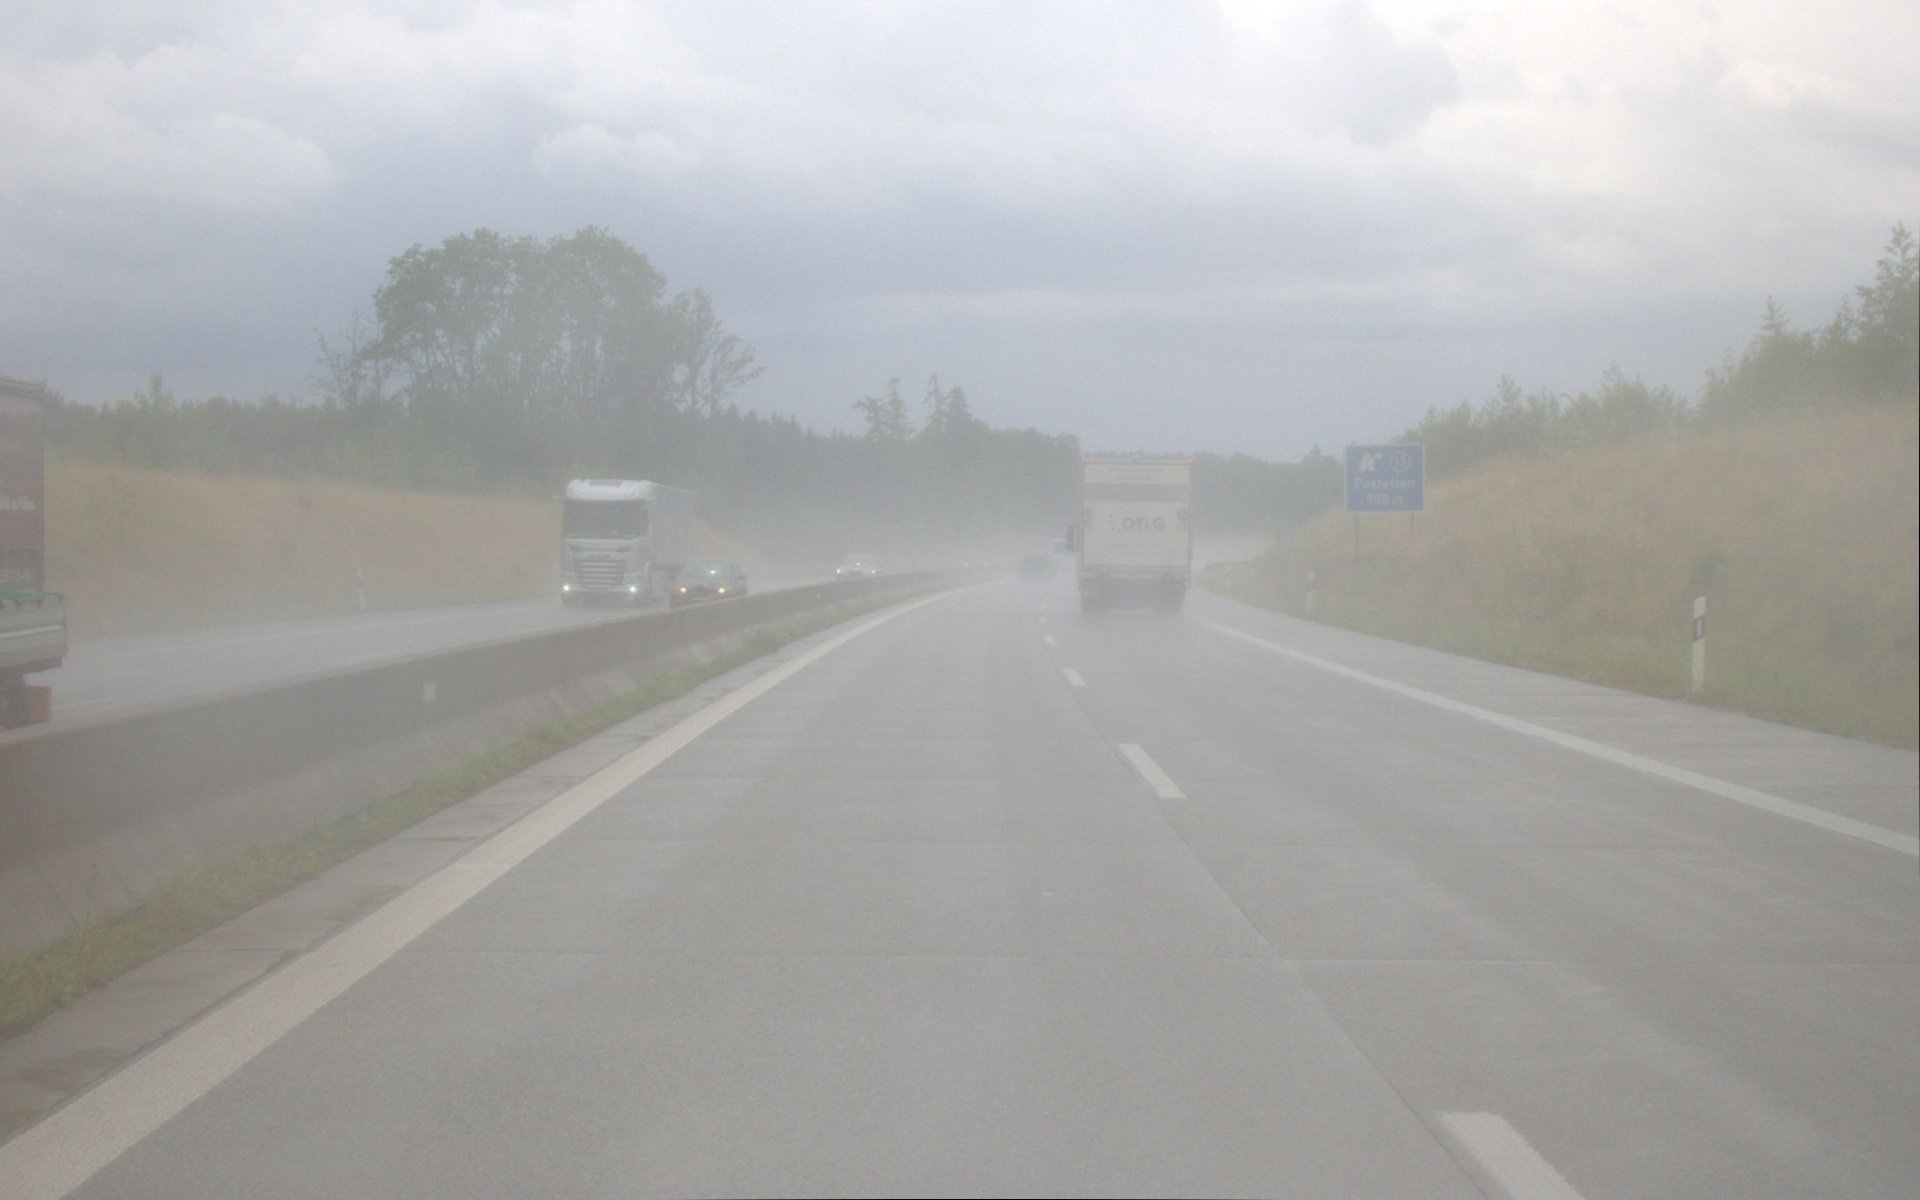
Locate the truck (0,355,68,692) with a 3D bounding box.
[{"bbox_3d":[-11.619,-0.784,34.503,3.168,3.521,8.365,0,1,0],"label":"truck"}]

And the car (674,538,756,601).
[{"bbox_3d":[-6.061,-0.778,85.456,1.660,1.481,4.000,-2,1,1],"label":"car"}]

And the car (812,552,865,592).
[{"bbox_3d":[-5.271,-1.229,149.421,1.993,1.513,4.189,-2,3,2],"label":"car"}]

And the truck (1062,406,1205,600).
[{"bbox_3d":[4.113,-2.359,82.833,3.244,4.421,8.246,0,2,2],"label":"truck"}]

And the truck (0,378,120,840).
[{"bbox_3d":[-6.923,0.053,20.504,2.332,2.772,6.161,0,1,0],"label":"truck"}]
